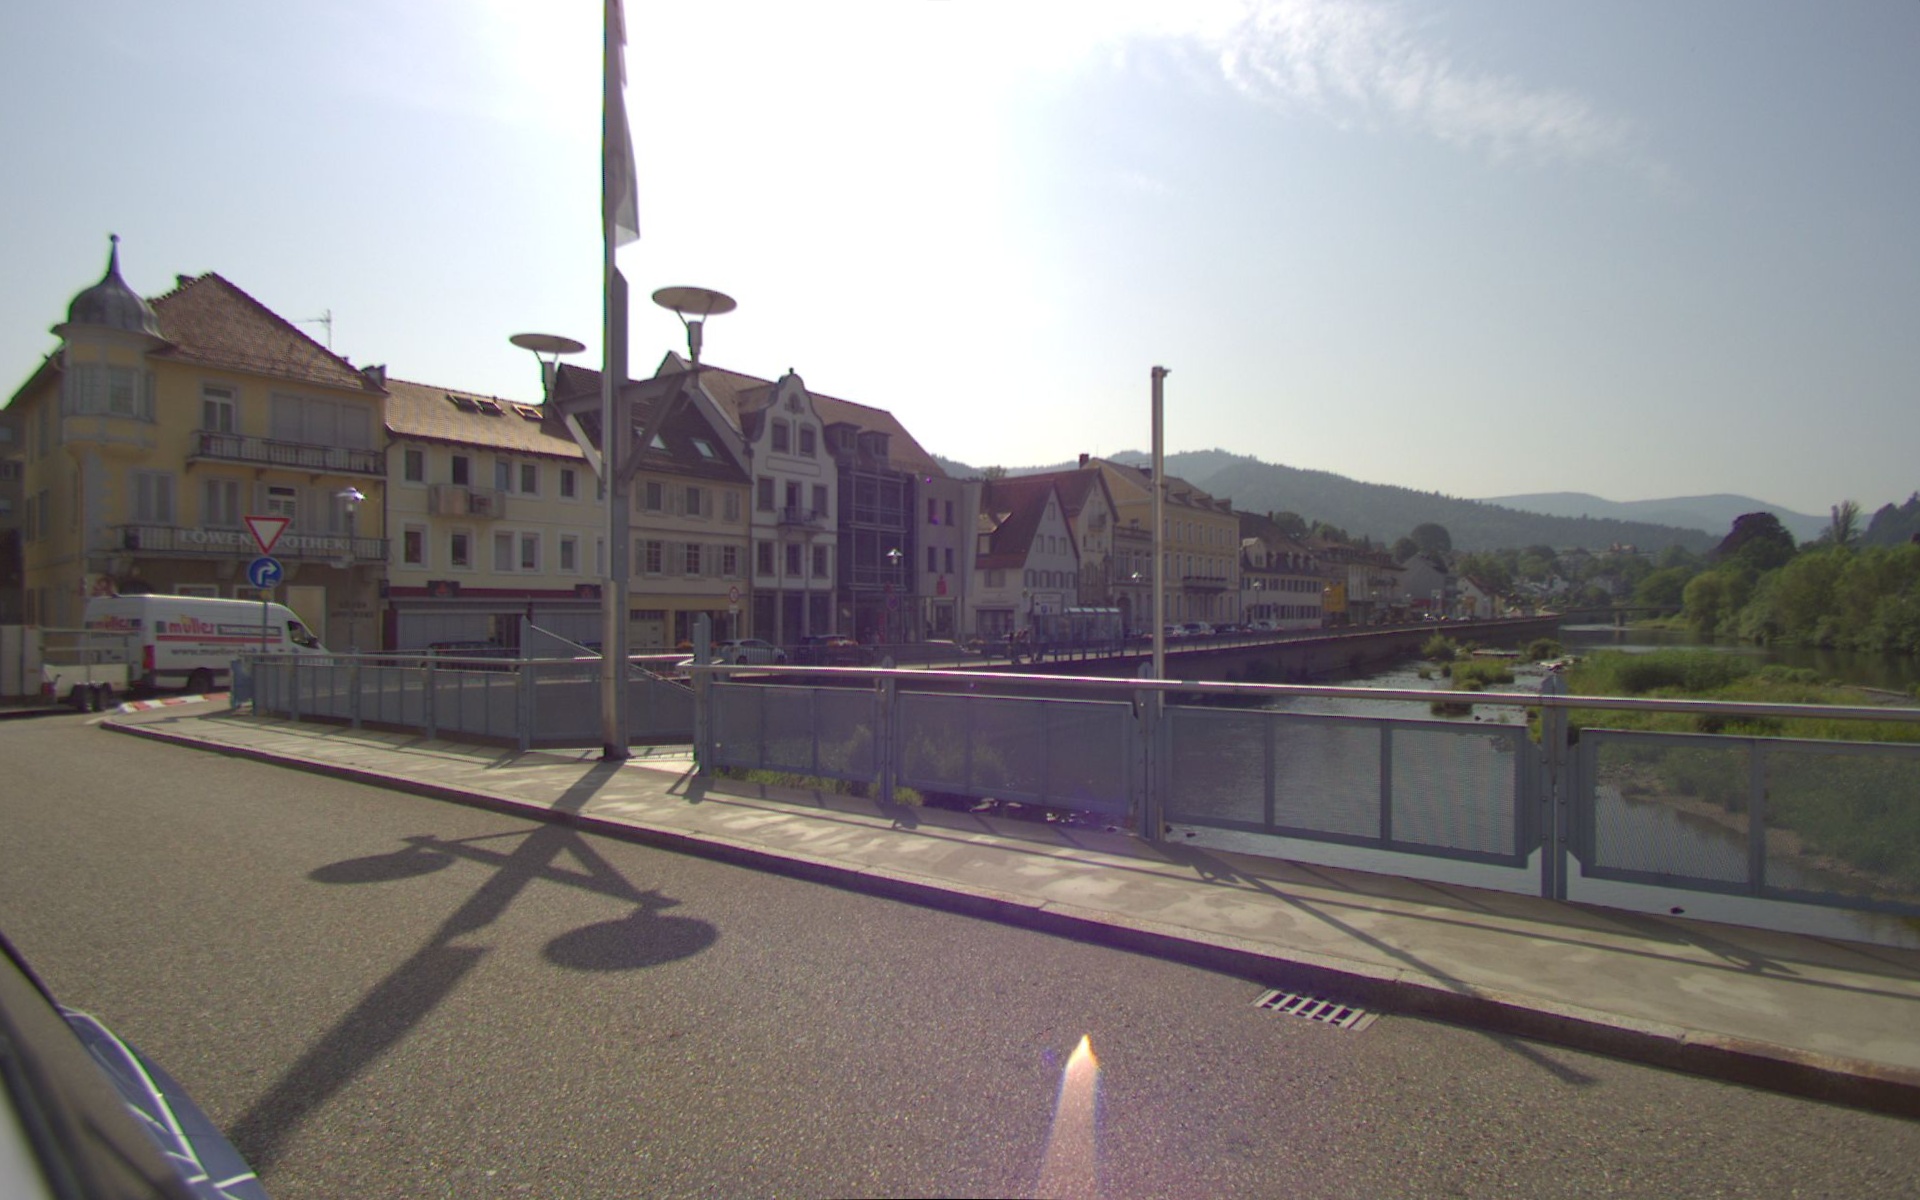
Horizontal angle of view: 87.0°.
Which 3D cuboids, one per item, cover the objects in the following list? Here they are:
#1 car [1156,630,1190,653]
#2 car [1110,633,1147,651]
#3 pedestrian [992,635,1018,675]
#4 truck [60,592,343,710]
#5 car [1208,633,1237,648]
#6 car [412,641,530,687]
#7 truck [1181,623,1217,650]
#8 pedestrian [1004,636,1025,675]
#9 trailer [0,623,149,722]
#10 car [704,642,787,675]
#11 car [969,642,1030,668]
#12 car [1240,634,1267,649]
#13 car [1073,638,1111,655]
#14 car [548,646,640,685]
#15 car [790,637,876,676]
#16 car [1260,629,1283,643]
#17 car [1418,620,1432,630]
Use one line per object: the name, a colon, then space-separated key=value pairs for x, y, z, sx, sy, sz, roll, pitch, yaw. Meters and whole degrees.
car: x=19.057 y=3.702 z=90.362 sx=1.749 sy=1.950 sz=3.535 roll=-2 pitch=-2 yaw=35
car: x=13.704 y=3.416 z=82.338 sx=1.749 sy=1.459 sz=3.237 roll=-2 pitch=-2 yaw=35
pedestrian: x=2.000 y=2.416 z=44.627 sx=0.868 sy=1.719 sz=0.767 roll=-1 pitch=-2 yaw=38
truck: x=-20.059 y=1.365 z=27.423 sx=2.084 sy=2.720 sz=7.126 roll=-2 pitch=-3 yaw=3
car: x=26.211 y=4.050 z=100.892 sx=1.749 sy=1.459 sz=3.237 roll=-2 pitch=-2 yaw=35
car: x=-18.202 y=2.347 z=37.797 sx=1.848 sy=1.580 sz=3.526 roll=-2 pitch=-2 yaw=35
truck: x=22.729 y=3.418 z=96.294 sx=1.748 sy=2.487 sz=4.606 roll=-2 pitch=-2 yaw=34
pedestrian: x=2.444 y=2.478 z=45.088 sx=0.791 sy=1.719 sz=0.485 roll=-1 pitch=-2 yaw=38
trailer: x=-19.439 y=1.463 z=21.186 sx=2.573 sy=1.842 sz=5.656 roll=0 pitch=-2 yaw=-25
car: x=-10.292 y=2.769 z=48.743 sx=1.749 sy=1.459 sz=3.750 roll=-2 pitch=-2 yaw=35
car: x=2.440 y=3.343 z=61.283 sx=1.752 sy=1.367 sz=4.151 roll=-3 pitch=-2 yaw=34
car: x=30.551 y=4.310 z=105.382 sx=1.749 sy=1.459 sz=3.237 roll=-2 pitch=-2 yaw=35
car: x=10.094 y=3.542 z=77.456 sx=1.565 sy=1.229 sz=3.237 roll=-2 pitch=-2 yaw=35
car: x=-15.177 y=2.682 z=42.076 sx=1.749 sy=1.459 sz=3.237 roll=-2 pitch=-2 yaw=35
car: x=-5.794 y=2.571 z=46.555 sx=1.681 sy=1.572 sz=3.923 roll=-2 pitch=-1 yaw=36
car: x=34.288 y=4.004 z=111.505 sx=1.515 sy=1.459 sz=3.237 roll=-2 pitch=-2 yaw=35
car: x=74.767 y=4.039 z=162.639 sx=1.515 sy=1.459 sz=3.237 roll=-2 pitch=-2 yaw=35
